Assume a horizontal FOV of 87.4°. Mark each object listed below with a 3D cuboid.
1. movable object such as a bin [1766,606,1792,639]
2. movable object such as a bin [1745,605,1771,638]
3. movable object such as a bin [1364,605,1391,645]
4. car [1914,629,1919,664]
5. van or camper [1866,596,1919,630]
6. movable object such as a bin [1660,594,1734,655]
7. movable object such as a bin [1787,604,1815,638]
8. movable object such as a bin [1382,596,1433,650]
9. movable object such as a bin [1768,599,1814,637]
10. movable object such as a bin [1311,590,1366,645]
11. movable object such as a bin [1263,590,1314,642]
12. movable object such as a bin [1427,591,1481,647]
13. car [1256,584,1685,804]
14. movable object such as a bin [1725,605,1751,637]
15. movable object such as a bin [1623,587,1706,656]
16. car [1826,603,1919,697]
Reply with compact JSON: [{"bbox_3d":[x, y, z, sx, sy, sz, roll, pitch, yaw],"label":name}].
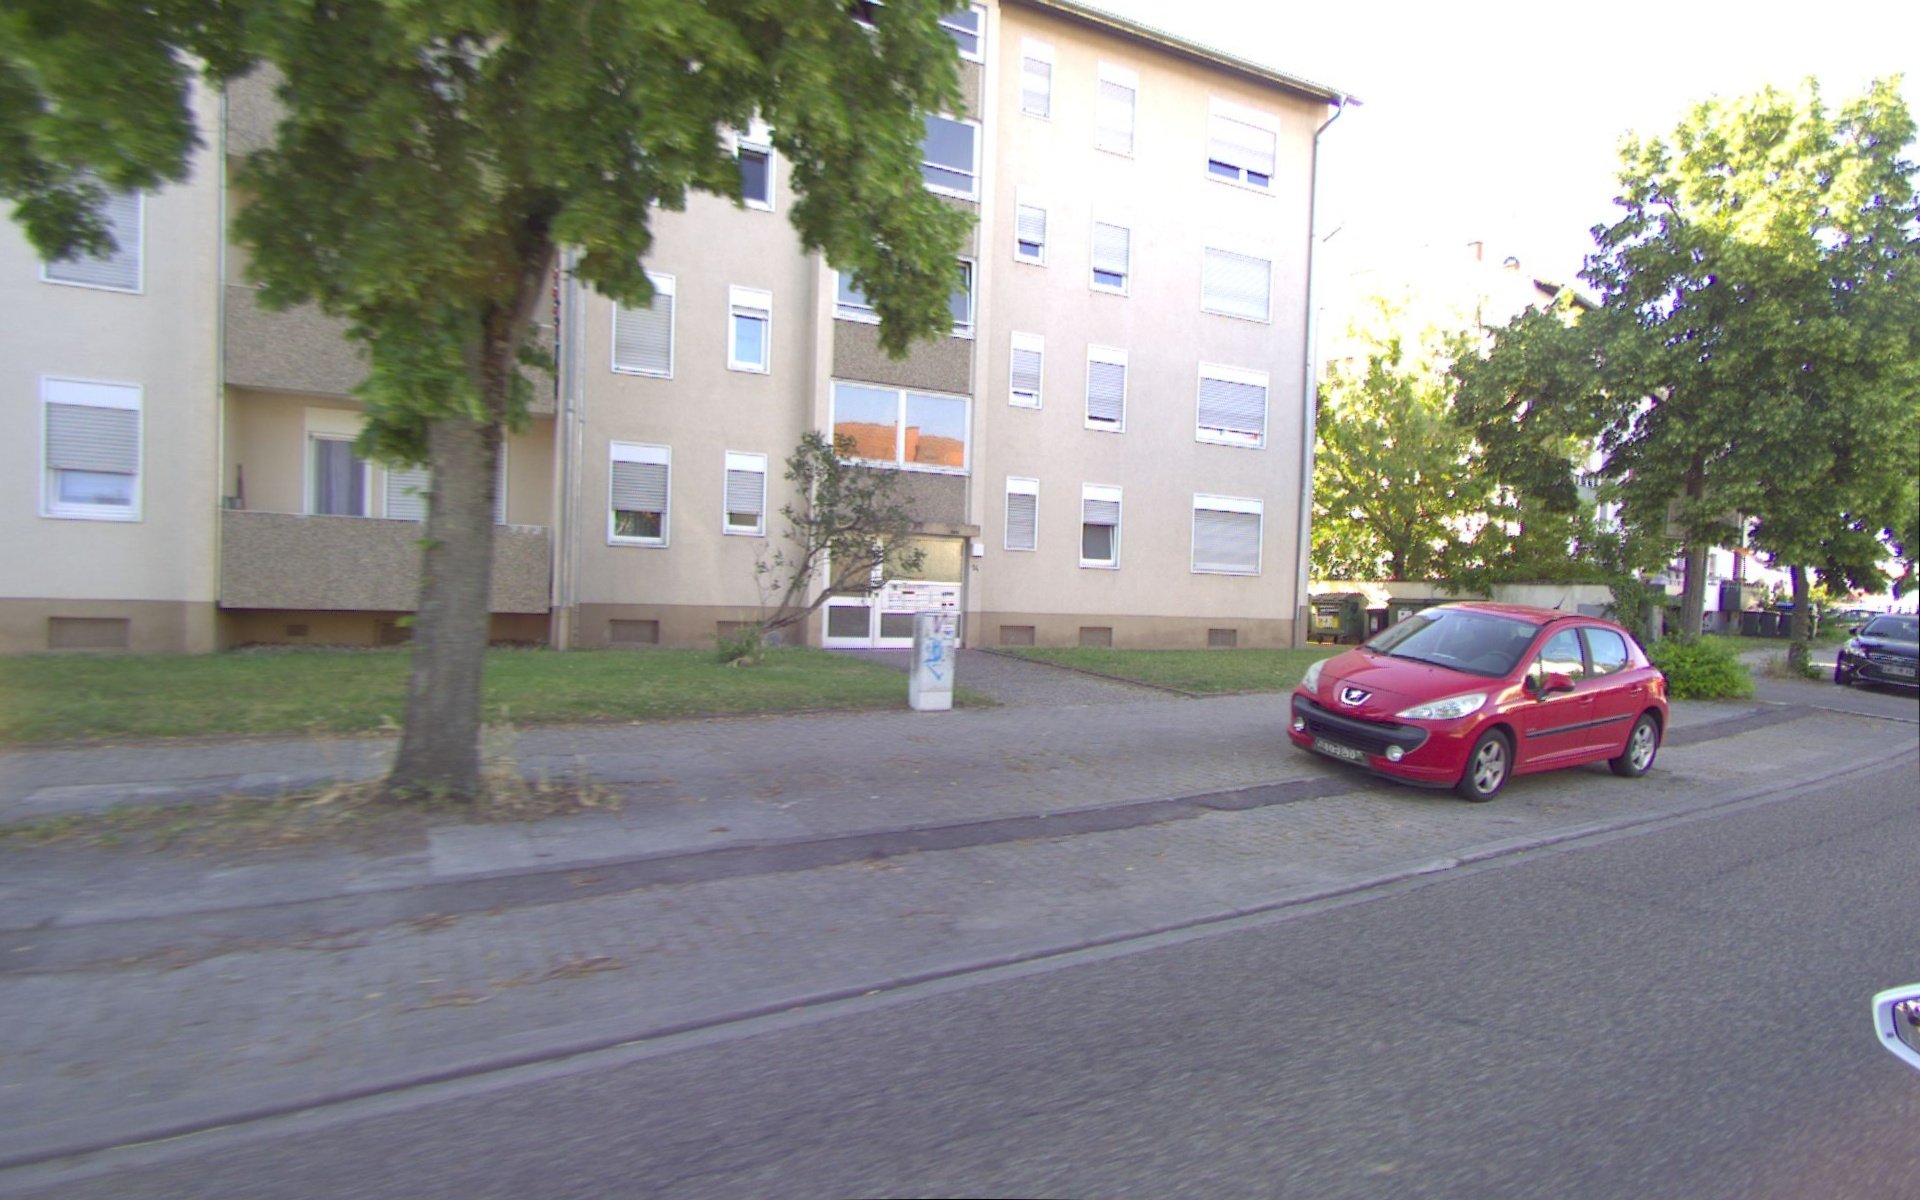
[{"bbox_3d":[32.616,0.889,40.009,0.665,1.296,0.634,1,2,-38],"label":"movable object such as a bin"},{"bbox_3d":[32.219,0.874,40.544,0.665,1.296,0.634,1,2,-38],"label":"movable object such as a bin"},{"bbox_3d":[11.371,0.680,27.364,0.479,1.028,0.504,-3,4,-32],"label":"movable object such as a bin"},{"bbox_3d":[28.110,1.080,27.863,3.874,1.614,1.708,1,7,-39],"label":"car"},{"bbox_3d":[70.942,1.004,74.626,2.215,2.351,4.873,2,1,-27],"label":"van or camper"},{"bbox_3d":[19.984,0.640,27.250,1.316,1.564,1.280,1,2,-38],"label":"movable object such as a bin"},{"bbox_3d":[33.027,0.837,39.459,0.665,1.296,0.682,1,2,-38],"label":"movable object such as a bin"},{"bbox_3d":[11.758,0.584,26.424,0.561,1.334,1.114,-3,4,-32],"label":"movable object such as a bin"},{"bbox_3d":[34.878,0.750,42.160,1.106,1.502,1.222,1,2,-38],"label":"movable object such as a bin"},{"bbox_3d":[10.703,0.466,28.401,0.944,1.452,1.114,-3,4,-32],"label":"movable object such as a bin"},{"bbox_3d":[9.797,0.471,29.972,0.928,1.452,1.114,-3,4,-32],"label":"movable object such as a bin"},{"bbox_3d":[12.387,0.463,25.208,0.561,1.334,1.083,-3,4,-32],"label":"movable object such as a bin"},{"bbox_3d":[4.728,0.727,9.187,3.865,1.514,1.648,1,5,-32],"label":"car"},{"bbox_3d":[31.827,0.861,41.088,0.665,1.296,0.634,1,2,-38],"label":"movable object such as a bin"},{"bbox_3d":[18.181,0.542,25.921,1.256,1.685,1.402,1,2,-38],"label":"movable object such as a bin"},{"bbox_3d":[18.498,0.940,19.614,4.510,1.514,1.706,1,7,-42],"label":"car"}]
